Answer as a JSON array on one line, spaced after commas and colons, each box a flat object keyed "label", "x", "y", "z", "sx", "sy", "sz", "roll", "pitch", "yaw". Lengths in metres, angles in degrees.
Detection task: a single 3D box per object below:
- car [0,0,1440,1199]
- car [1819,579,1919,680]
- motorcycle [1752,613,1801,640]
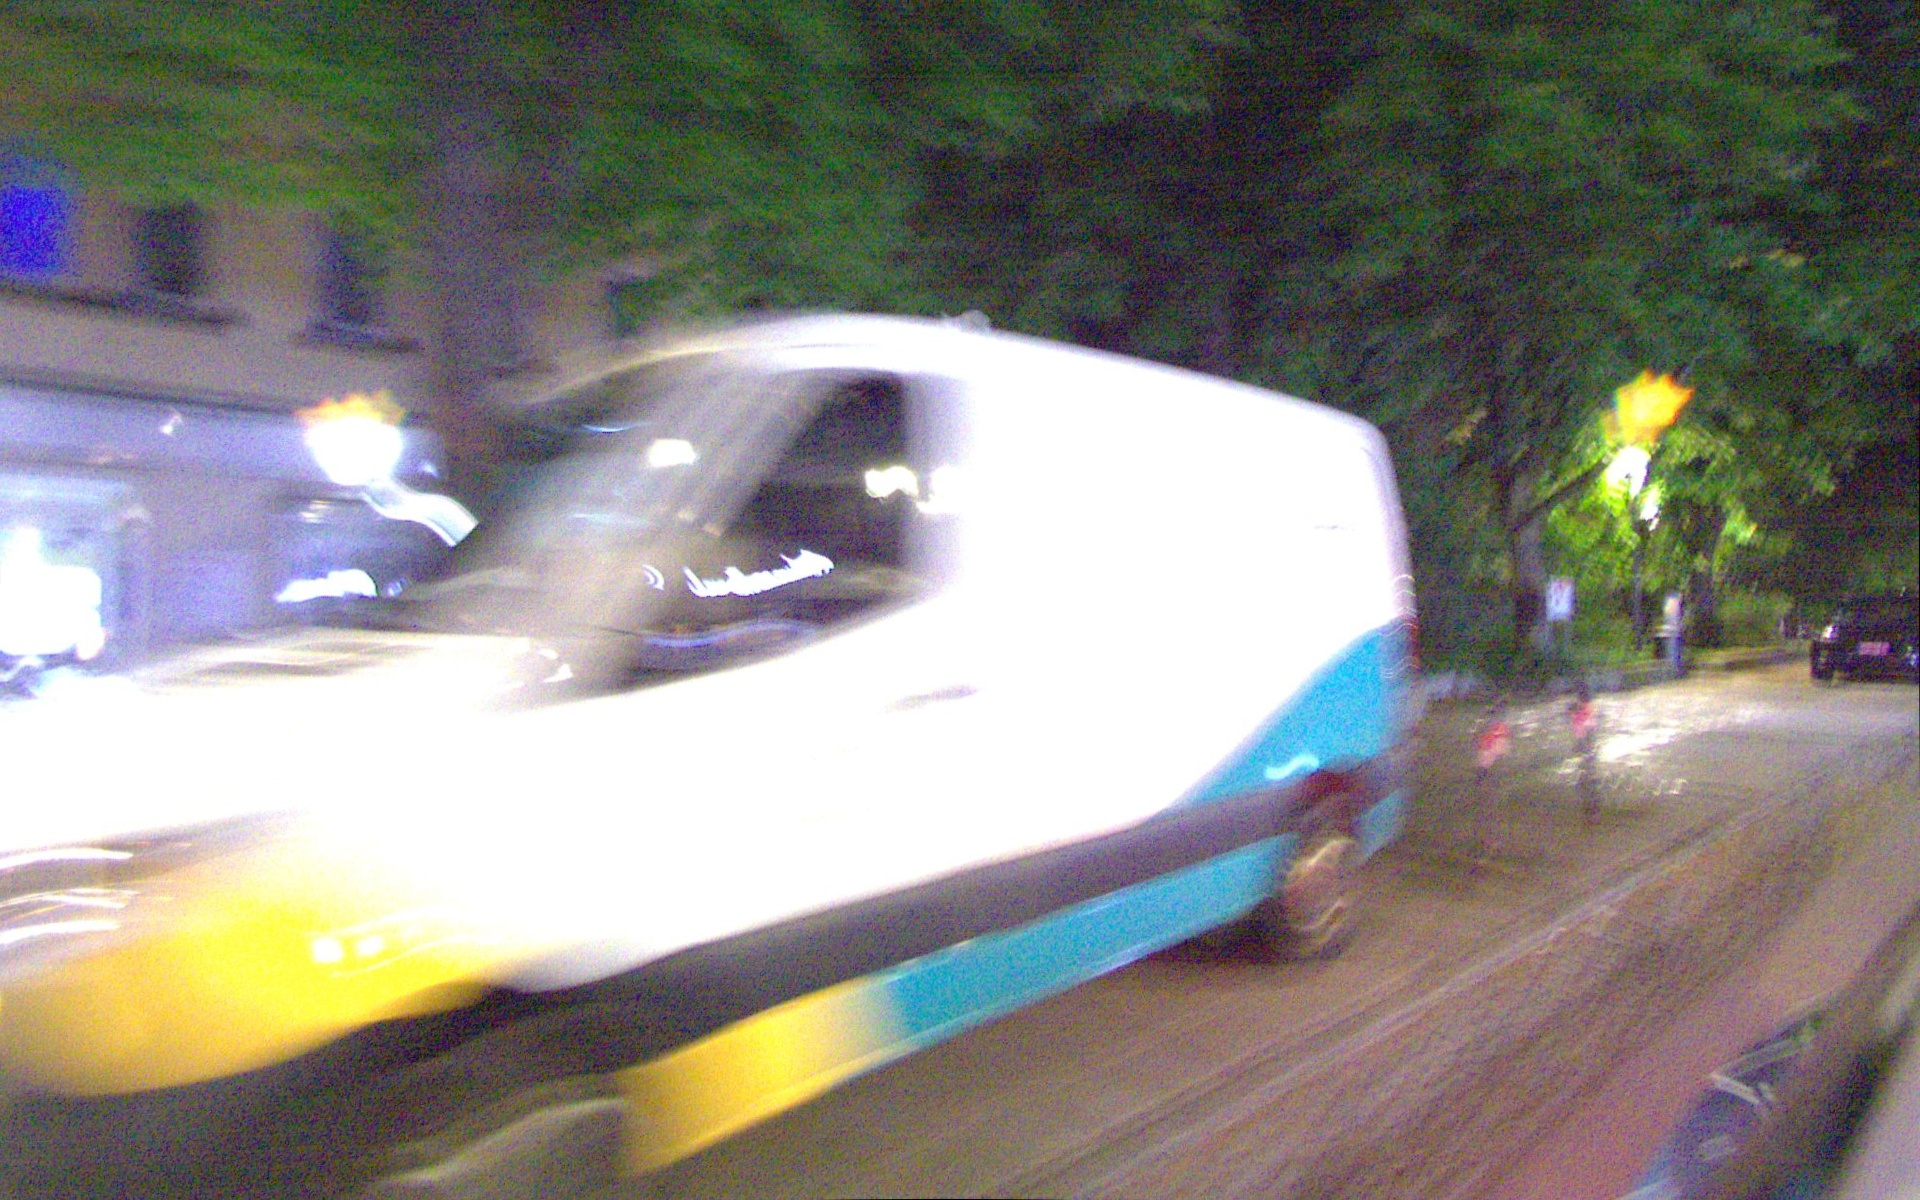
[{"label": "car", "x": -0.449, "y": 0.261, "z": 3.658, "sx": 5.063, "sy": 2.356, "sz": 2.136, "roll": 0, "pitch": -2, "yaw": -42}, {"label": "car", "x": 19.034, "y": 0.557, "z": 20.405, "sx": 4.851, "sy": 1.826, "sz": 1.910, "roll": 0, "pitch": -2, "yaw": -42}, {"label": "motorcycle", "x": 37.976, "y": 1.235, "z": 47.090, "sx": 1.718, "sy": 1.268, "sz": 0.426, "roll": -2, "pitch": -2, "yaw": 42}]
